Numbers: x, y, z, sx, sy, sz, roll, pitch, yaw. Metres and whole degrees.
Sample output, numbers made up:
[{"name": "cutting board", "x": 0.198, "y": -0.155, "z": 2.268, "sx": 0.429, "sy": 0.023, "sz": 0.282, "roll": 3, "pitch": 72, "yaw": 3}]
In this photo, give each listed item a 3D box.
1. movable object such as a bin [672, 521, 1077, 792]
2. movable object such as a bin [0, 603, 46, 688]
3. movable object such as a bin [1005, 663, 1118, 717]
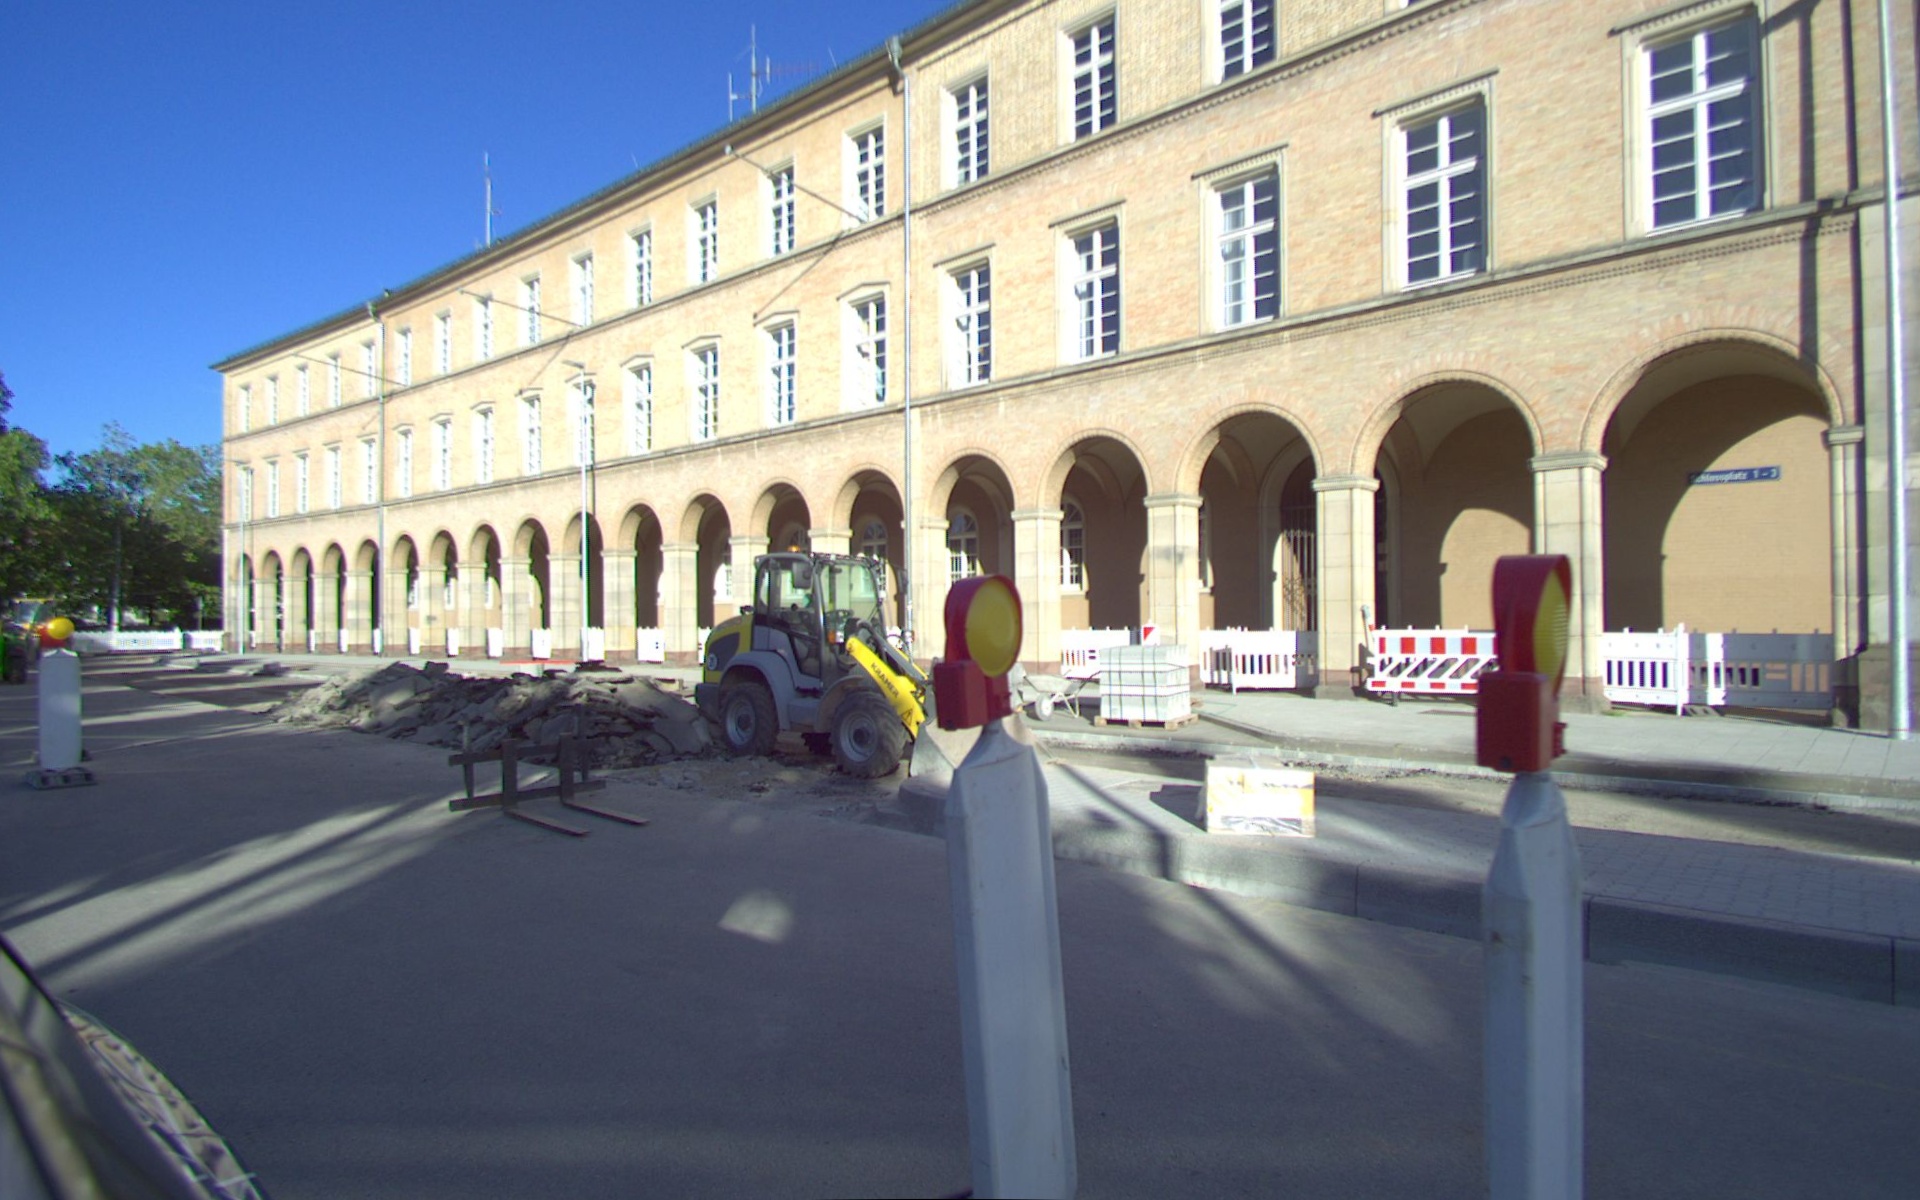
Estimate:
[{"name": "movable object such as a bin", "x": -1.097, "y": 0.581, "z": 11.337, "sx": 4.530, "sy": 2.472, "sz": 1.773, "roll": -2, "pitch": -2, "yaw": 38}, {"name": "movable object such as a bin", "x": -24.768, "y": 1.106, "z": 24.627, "sx": 2.100, "sy": 2.093, "sz": 3.213, "roll": -1, "pitch": -2, "yaw": 28}, {"name": "movable object such as a bin", "x": 1.500, "y": 1.307, "z": 14.958, "sx": 1.239, "sy": 0.703, "sz": 1.175, "roll": -2, "pitch": -2, "yaw": 39}]
